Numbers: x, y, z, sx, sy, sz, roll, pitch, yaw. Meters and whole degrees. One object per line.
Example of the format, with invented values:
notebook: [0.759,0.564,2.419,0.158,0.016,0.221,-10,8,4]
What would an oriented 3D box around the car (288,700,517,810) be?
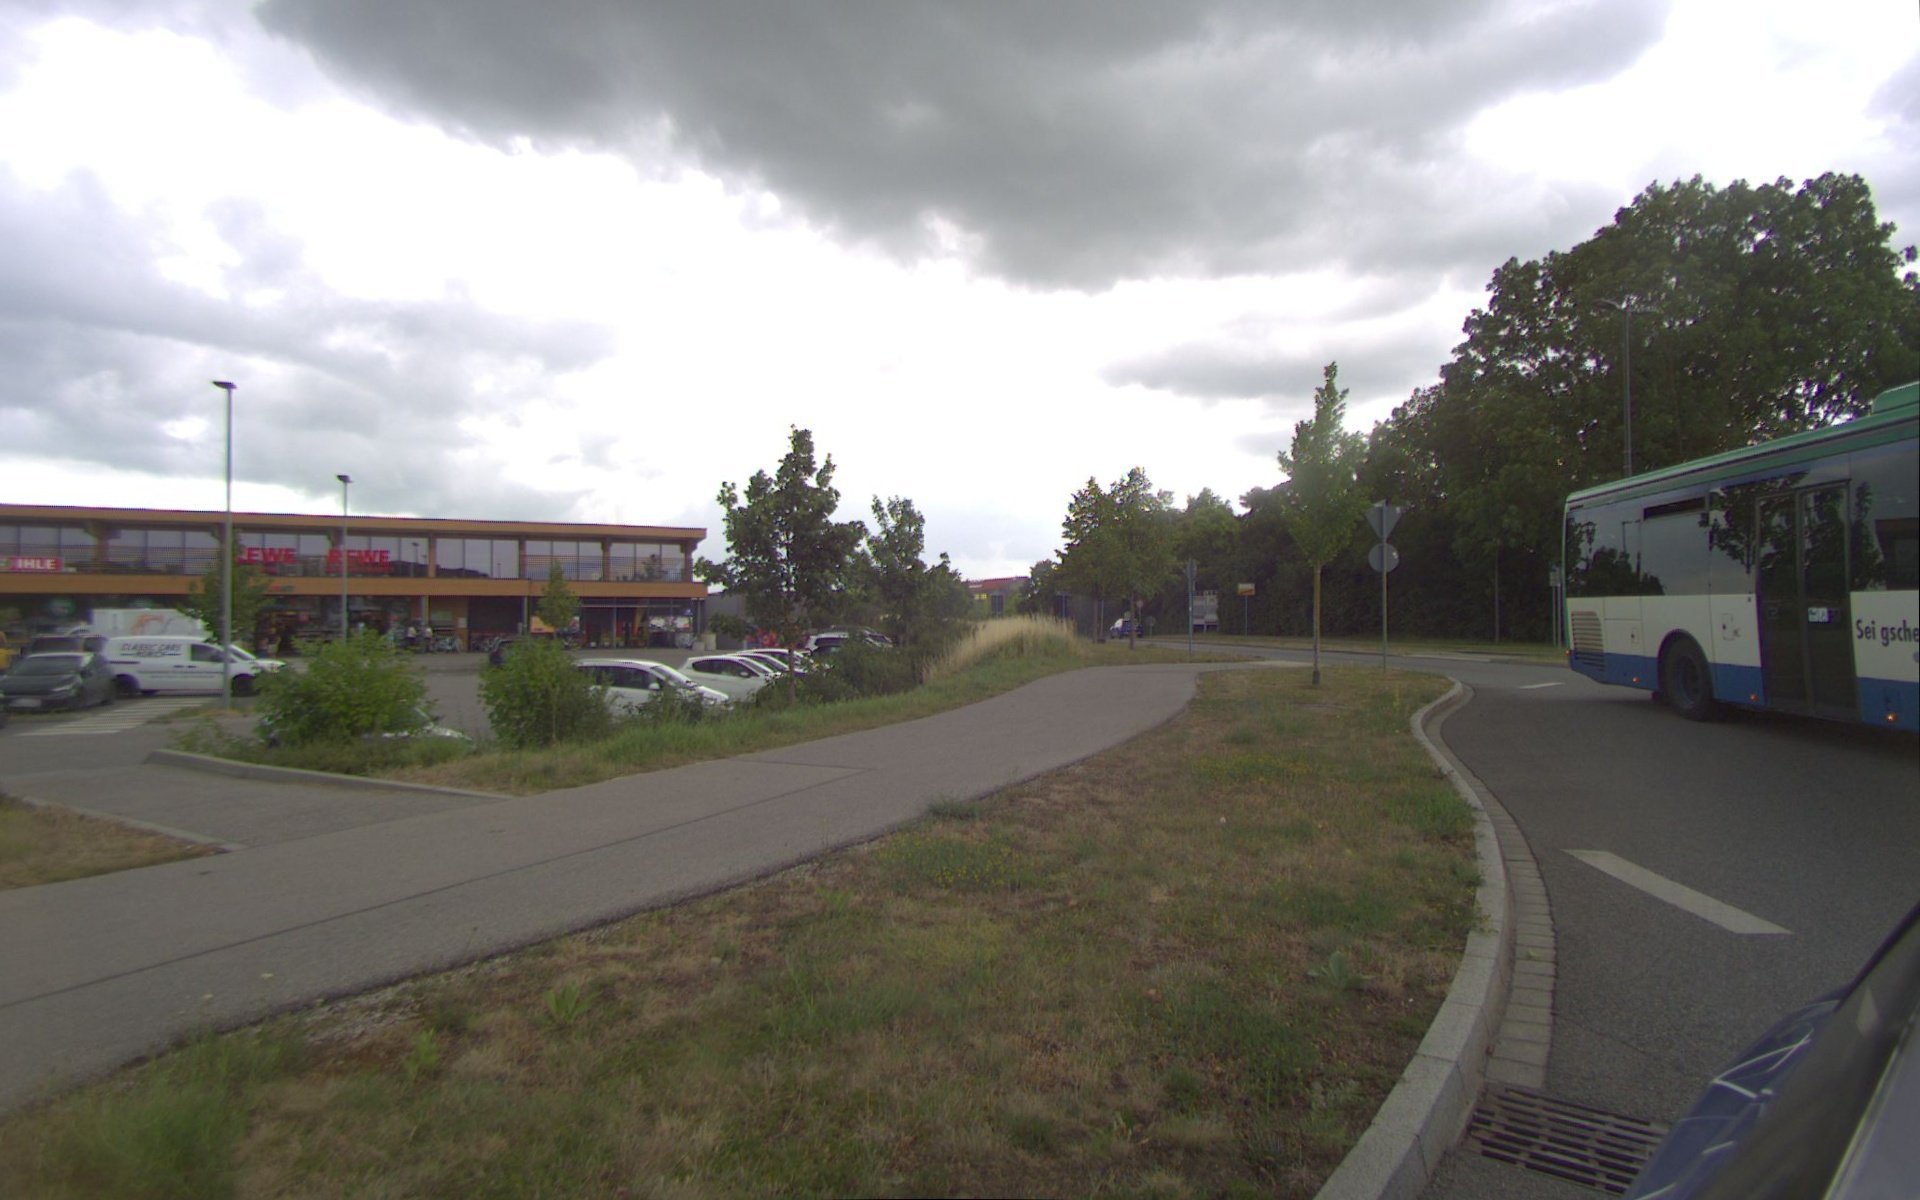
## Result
car: [-9.076,2.433,16.419,3.698,1.390,1.565,-2,-1,29]

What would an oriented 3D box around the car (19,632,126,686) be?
car: [-32.232,2.090,36.887,1.814,1.747,4.126,-2,0,-25]

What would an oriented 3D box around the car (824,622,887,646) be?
car: [-6.682,2.145,64.715,3.918,1.462,1.886,-1,-1,-8]

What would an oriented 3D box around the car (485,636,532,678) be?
car: [-19.288,2.377,43.155,1.680,1.588,3.675,0,-1,-26]

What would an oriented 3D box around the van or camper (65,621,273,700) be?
van or camper: [-24.067,1.818,31.011,4.705,2.125,1.768,-2,-2,-21]

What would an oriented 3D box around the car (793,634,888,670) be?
car: [-5.163,2.267,44.005,3.823,1.483,1.694,-1,-1,7]

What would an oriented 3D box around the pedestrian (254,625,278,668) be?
pedestrian: [-33.778,2.240,49.253,0.913,2.039,0.806,0,-1,-31]

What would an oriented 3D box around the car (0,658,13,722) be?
car: [-21.776,2.033,21.239,1.799,1.416,4.004,0,0,-28]

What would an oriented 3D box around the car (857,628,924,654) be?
car: [-4.222,2.480,61.711,3.823,1.483,1.694,-1,-1,7]

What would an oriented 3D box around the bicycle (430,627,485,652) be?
bicycle: [-28.800,2.263,58.038,2.810,1.326,0.981,0,-1,-25]

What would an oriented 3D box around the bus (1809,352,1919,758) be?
bus: [8.672,-0.322,6.114,2.485,3.299,6.529,0,1,11]

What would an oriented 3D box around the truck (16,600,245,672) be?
truck: [-35.231,1.463,43.408,7.111,2.843,2.979,0,-1,-29]

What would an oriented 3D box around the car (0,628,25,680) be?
car: [-35.319,1.959,36.070,1.736,1.878,4.006,-1,-1,-24]

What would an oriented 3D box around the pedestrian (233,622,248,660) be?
pedestrian: [-38.451,2.187,54.077,0.567,1.974,0.526,0,-1,-28]

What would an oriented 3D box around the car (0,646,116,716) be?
car: [-24.084,2.097,26.983,1.697,1.573,4.004,0,-1,-29]

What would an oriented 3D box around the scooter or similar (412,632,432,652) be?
scooter or similar: [-30.936,2.403,58.197,0.983,1.141,0.794,0,-3,-31]

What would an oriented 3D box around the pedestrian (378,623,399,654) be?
pedestrian: [-30.988,2.092,54.915,0.789,1.678,0.751,0,-1,-8]

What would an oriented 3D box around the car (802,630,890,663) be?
car: [-5.348,2.179,47.655,3.823,1.483,1.694,-1,-1,7]

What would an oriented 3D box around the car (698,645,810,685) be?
car: [-7.192,2.251,35.518,3.613,1.311,1.413,0,-1,7]

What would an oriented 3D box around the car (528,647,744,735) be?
car: [-7.380,2.059,23.311,4.363,1.694,1.799,2,0,3]

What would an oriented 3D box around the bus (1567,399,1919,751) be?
bus: [9.729,-0.288,12.083,2.485,3.299,5.445,0,1,11]

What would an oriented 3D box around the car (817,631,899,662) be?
car: [-5.111,2.315,50.760,3.823,1.483,1.694,-1,-1,7]

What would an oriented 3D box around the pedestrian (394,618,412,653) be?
pedestrian: [-31.769,2.019,57.719,0.910,1.923,0.794,0,-4,-31]

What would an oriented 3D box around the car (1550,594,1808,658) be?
car: [18.374,0.648,26.172,5.251,1.517,1.948,-1,-1,35]

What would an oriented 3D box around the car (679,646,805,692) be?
car: [-6.959,2.195,32.490,3.610,1.311,1.714,-1,0,4]

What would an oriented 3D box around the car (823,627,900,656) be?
car: [-5.227,2.202,53.933,3.823,1.483,1.694,-1,-1,7]

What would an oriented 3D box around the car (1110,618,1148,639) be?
car: [12.471,2.131,74.895,1.728,1.449,4.083,-1,-3,-4]

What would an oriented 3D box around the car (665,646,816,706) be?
car: [-6.388,2.211,29.712,3.929,1.527,1.997,-1,0,5]

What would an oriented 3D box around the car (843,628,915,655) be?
car: [-4.618,2.369,57.783,3.823,1.483,1.694,-1,-1,7]
